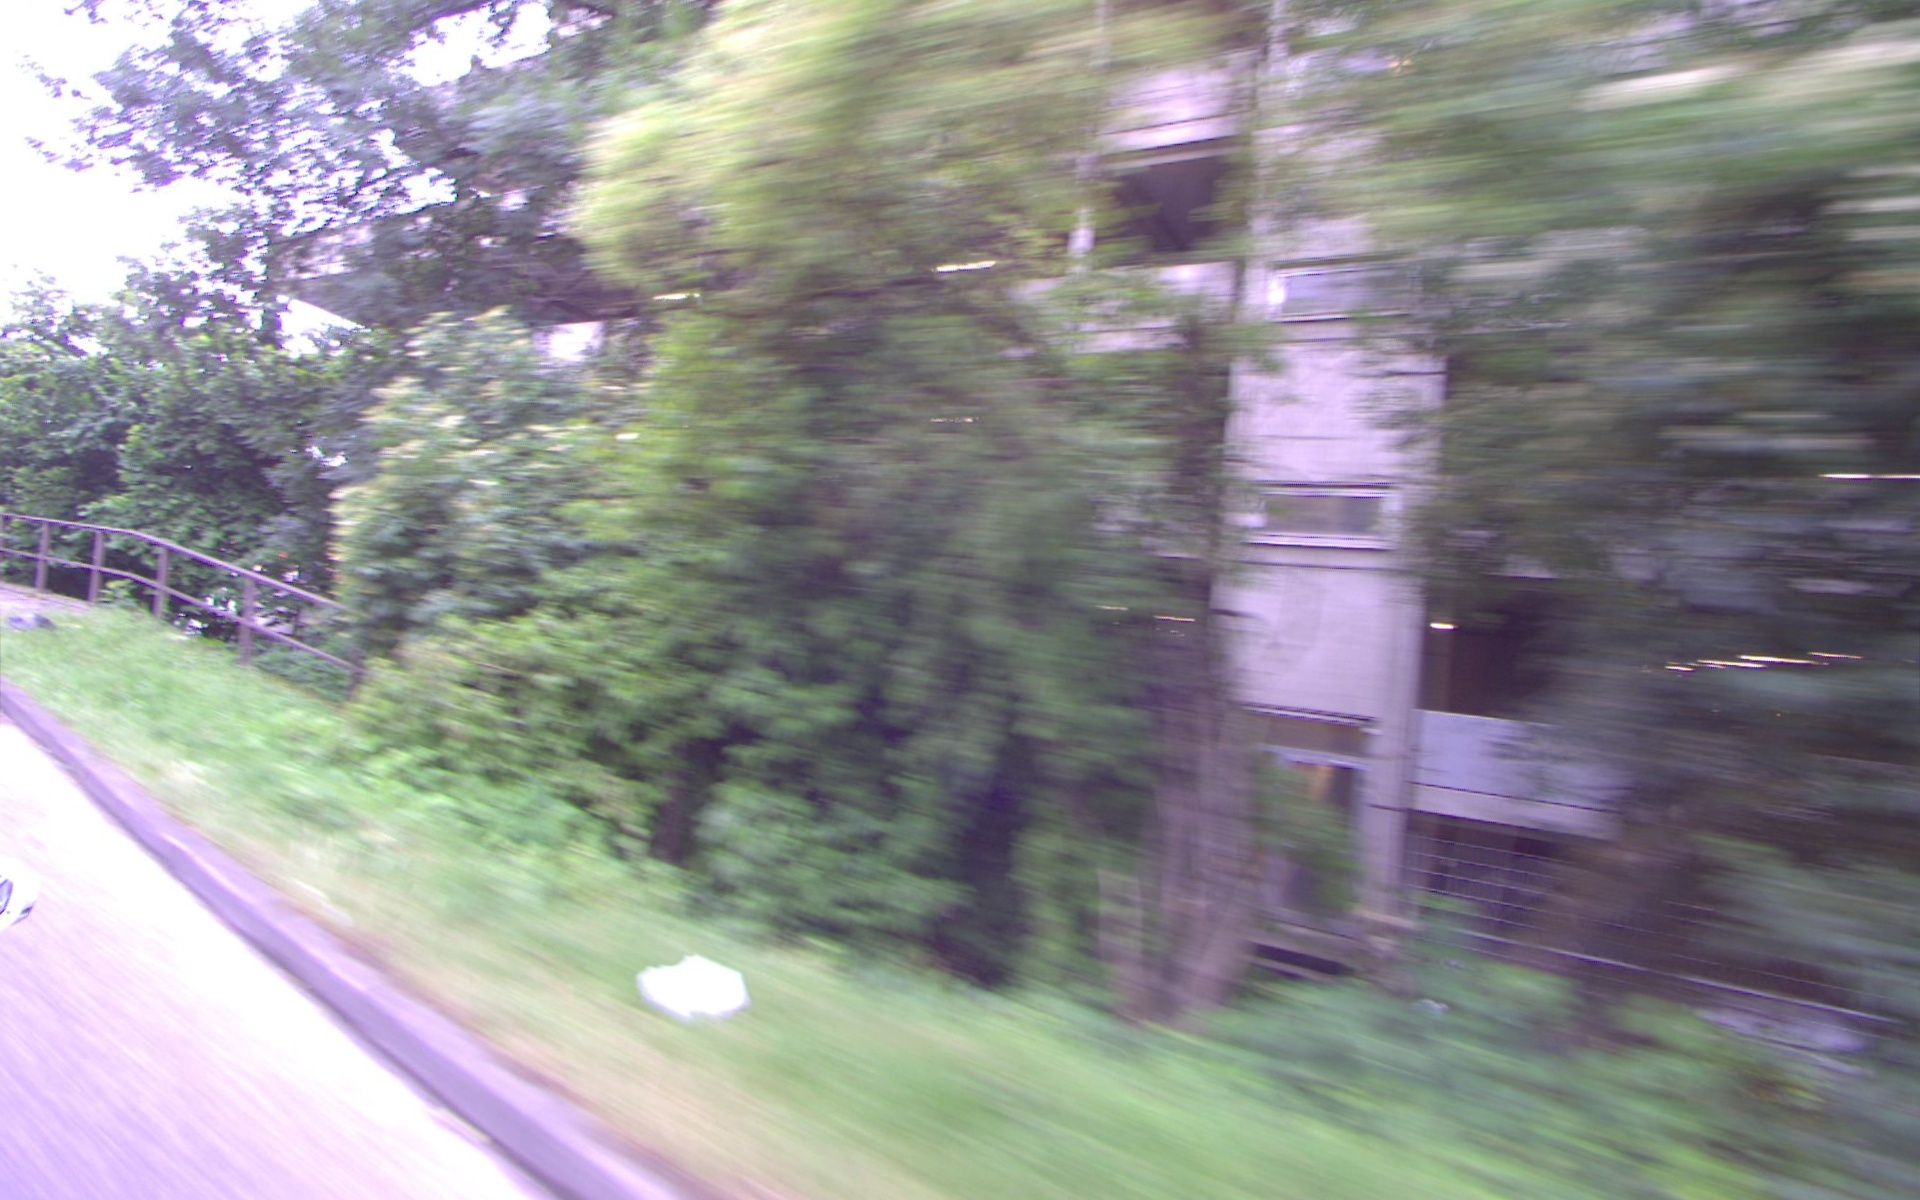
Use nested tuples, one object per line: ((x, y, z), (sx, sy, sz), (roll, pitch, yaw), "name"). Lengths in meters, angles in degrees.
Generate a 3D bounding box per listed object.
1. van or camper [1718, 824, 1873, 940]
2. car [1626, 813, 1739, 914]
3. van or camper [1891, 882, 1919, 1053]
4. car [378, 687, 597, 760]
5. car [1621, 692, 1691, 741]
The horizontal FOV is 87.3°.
((17.321, 5.784, 21.052), (1.697, 1.426, 3.719), (5, -1, 29), "van or camper")
((15.538, 5.611, 21.786), (1.444, 1.316, 3.548), (5, -1, 29), "car")
((12.611, 4.765, 11.509), (1.809, 1.977, 4.012), (5, -1, 29), "van or camper")
((-11.646, 3.010, 25.191), (1.966, 1.446, 4.663), (4, -3, 27), "car")
((27.138, 4.508, 39.343), (1.831, 1.609, 4.185), (4, -3, 30), "car")
